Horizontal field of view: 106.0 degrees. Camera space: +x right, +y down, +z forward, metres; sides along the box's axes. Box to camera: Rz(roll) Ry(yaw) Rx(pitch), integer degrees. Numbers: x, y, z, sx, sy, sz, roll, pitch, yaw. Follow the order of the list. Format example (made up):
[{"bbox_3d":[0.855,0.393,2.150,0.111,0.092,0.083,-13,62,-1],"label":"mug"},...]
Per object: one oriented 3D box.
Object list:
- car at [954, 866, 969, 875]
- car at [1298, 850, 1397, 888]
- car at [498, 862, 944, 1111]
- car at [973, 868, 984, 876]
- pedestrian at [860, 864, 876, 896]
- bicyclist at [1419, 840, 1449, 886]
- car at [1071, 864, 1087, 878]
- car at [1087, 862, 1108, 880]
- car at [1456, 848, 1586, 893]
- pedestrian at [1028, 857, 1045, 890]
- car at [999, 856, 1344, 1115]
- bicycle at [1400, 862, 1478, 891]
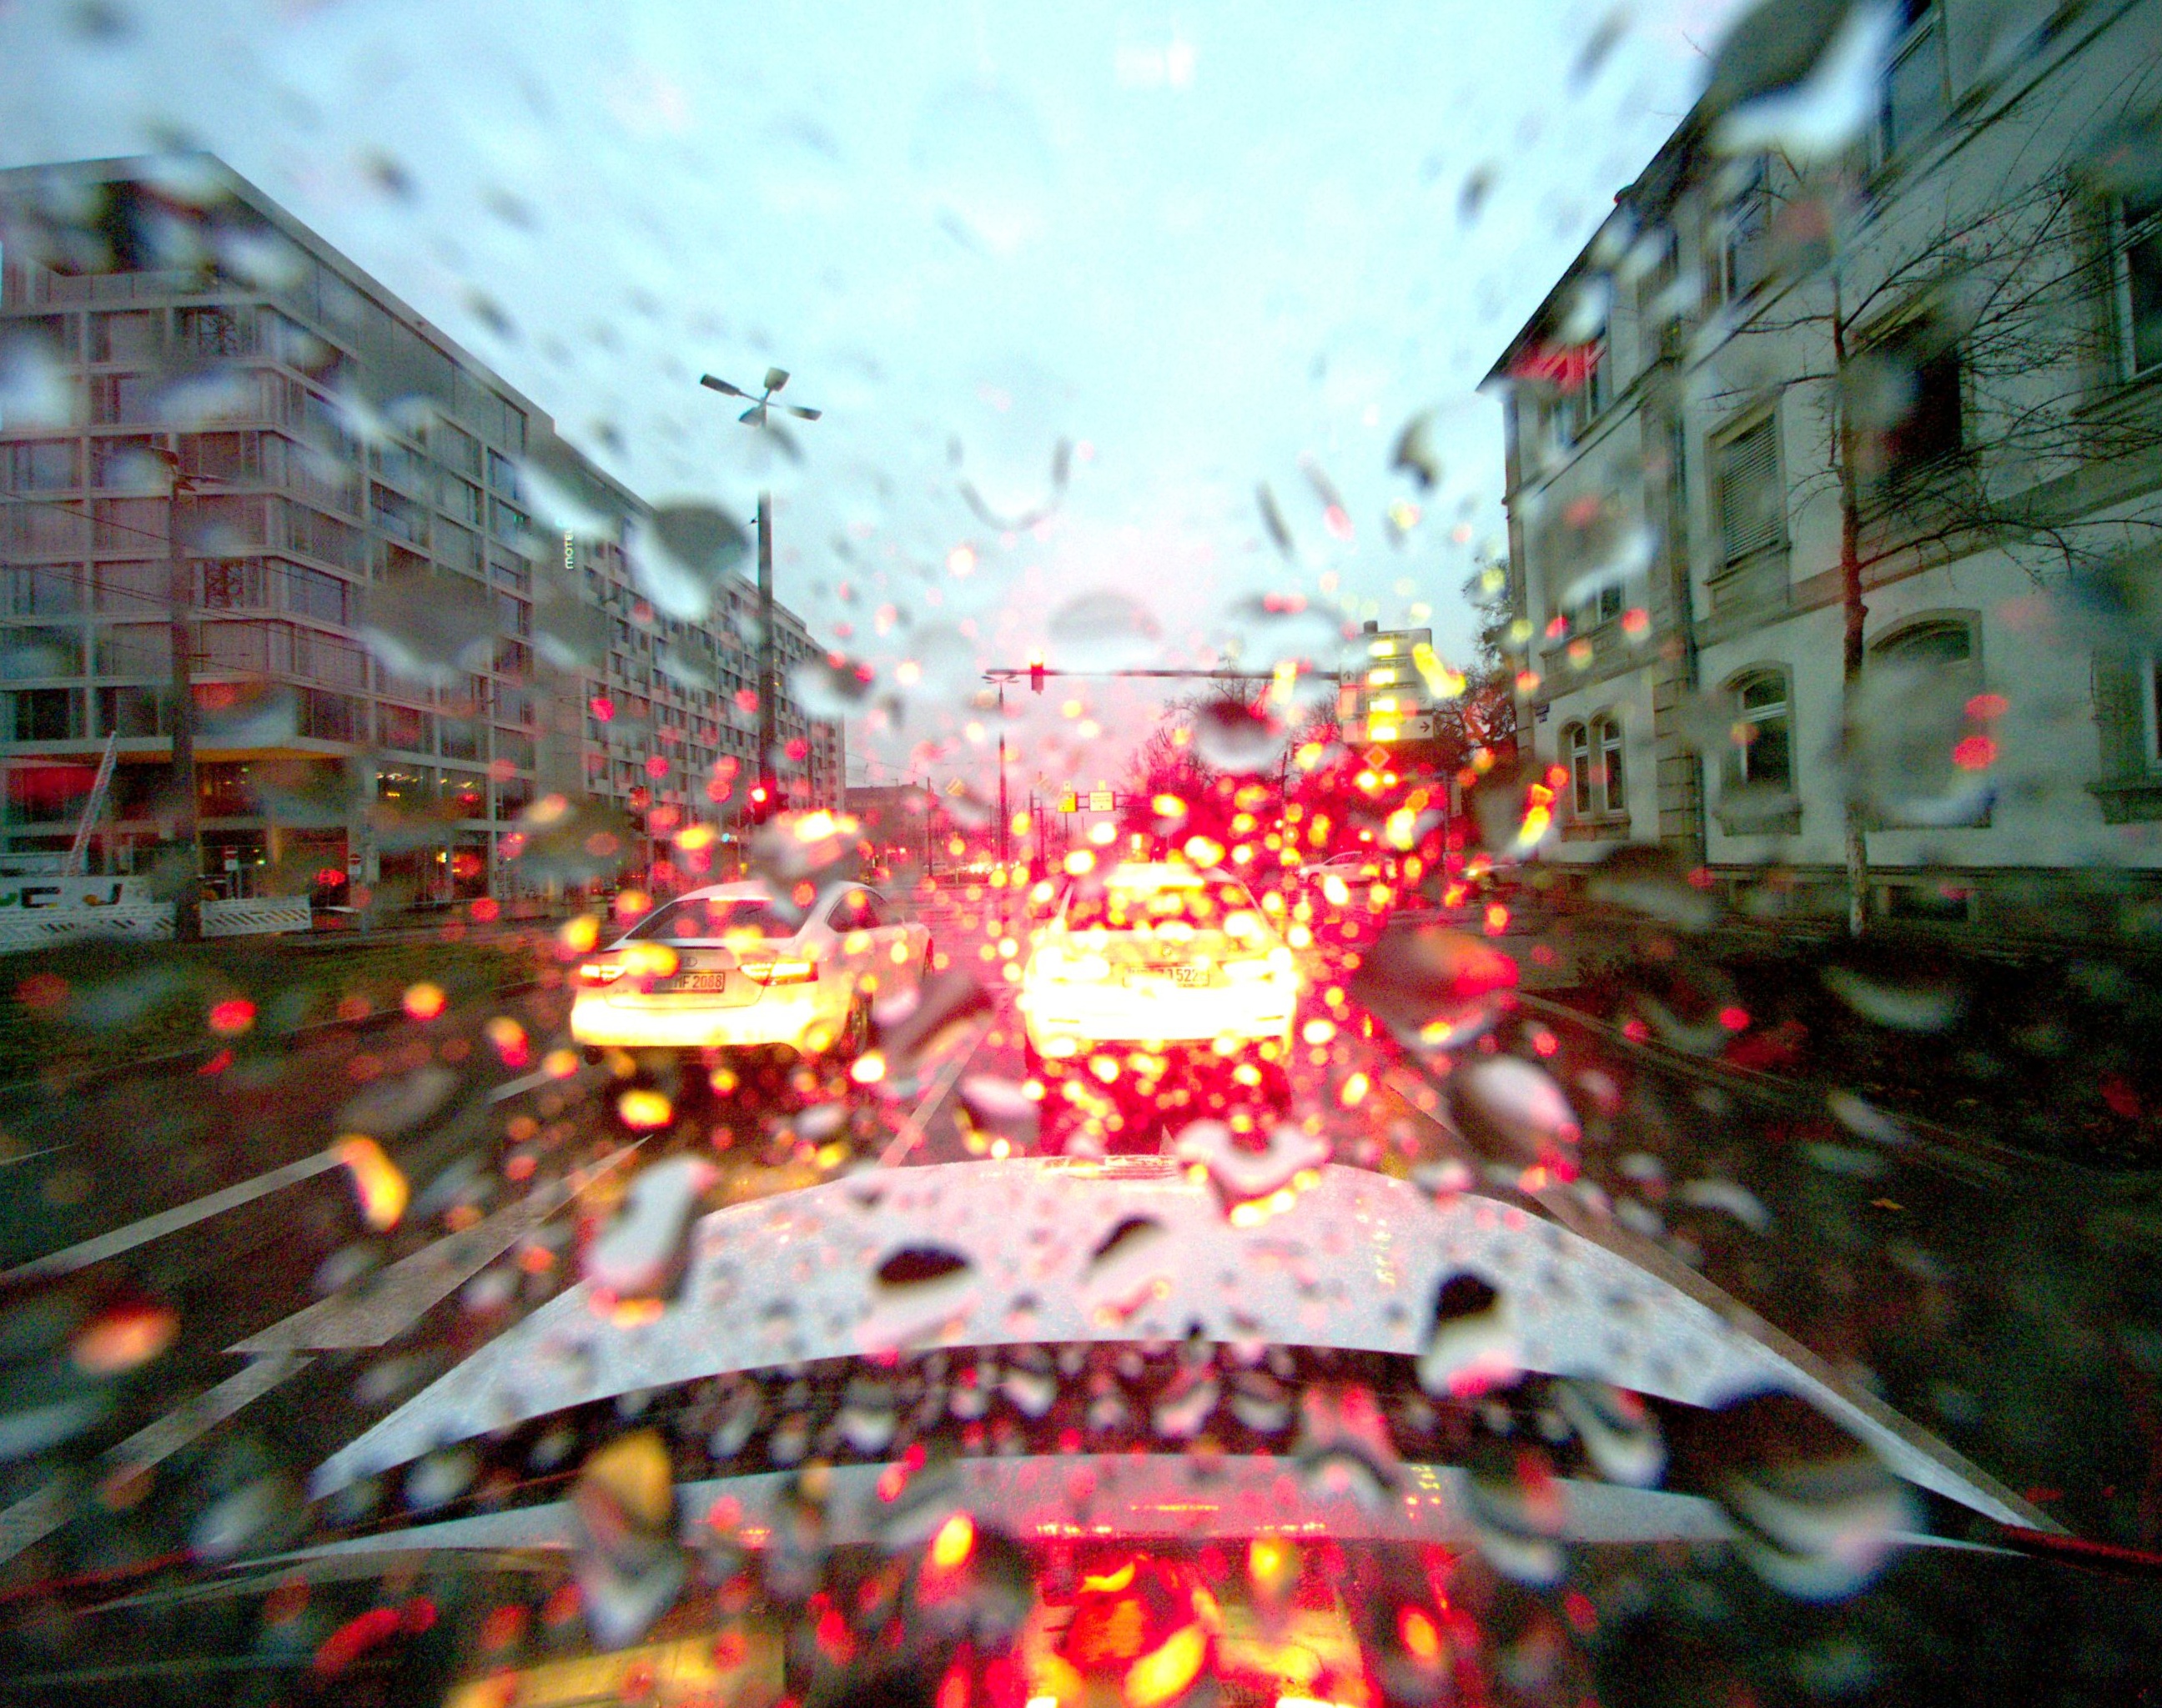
[{"bbox_3d":[-18.999,2.623,129.481,1.669,1.508,3.697,0,-1,1],"label":"car"},{"bbox_3d":[11.531,0.638,35.217,3.920,1.554,1.758,0,-1,22],"label":"car"},{"bbox_3d":[-2.592,0.838,7.224,1.987,1.456,4.367,-1,0,0],"label":"car"},{"bbox_3d":[-20.211,3.493,160.608,1.669,1.508,3.697,0,-1,1],"label":"car"},{"bbox_3d":[-11.711,1.421,44.777,0.791,1.712,0.809,0,-1,-13],"label":"pedestrian"},{"bbox_3d":[13.570,0.342,31.340,0.964,1.759,0.817,0,-1,17],"label":"bicyclist"},{"bbox_3d":[-0.202,1.890,90.847,1.837,1.609,3.944,0,-1,0],"label":"car"},{"bbox_3d":[1.512,1.596,75.211,1.836,1.609,3.945,0,-1,1],"label":"car"},{"bbox_3d":[14.976,0.562,27.902,3.661,1.478,1.635,0,-1,15],"label":"car"},{"bbox_3d":[-2.567,1.106,46.833,0.903,1.856,0.809,0,-1,-11],"label":"pedestrian"},{"bbox_3d":[0.531,0.770,6.930,1.987,1.456,4.367,-1,0,0],"label":"car"},{"bbox_3d":[13.724,0.871,31.292,2.646,1.089,0.818,0,-1,17],"label":"bicycle"}]
